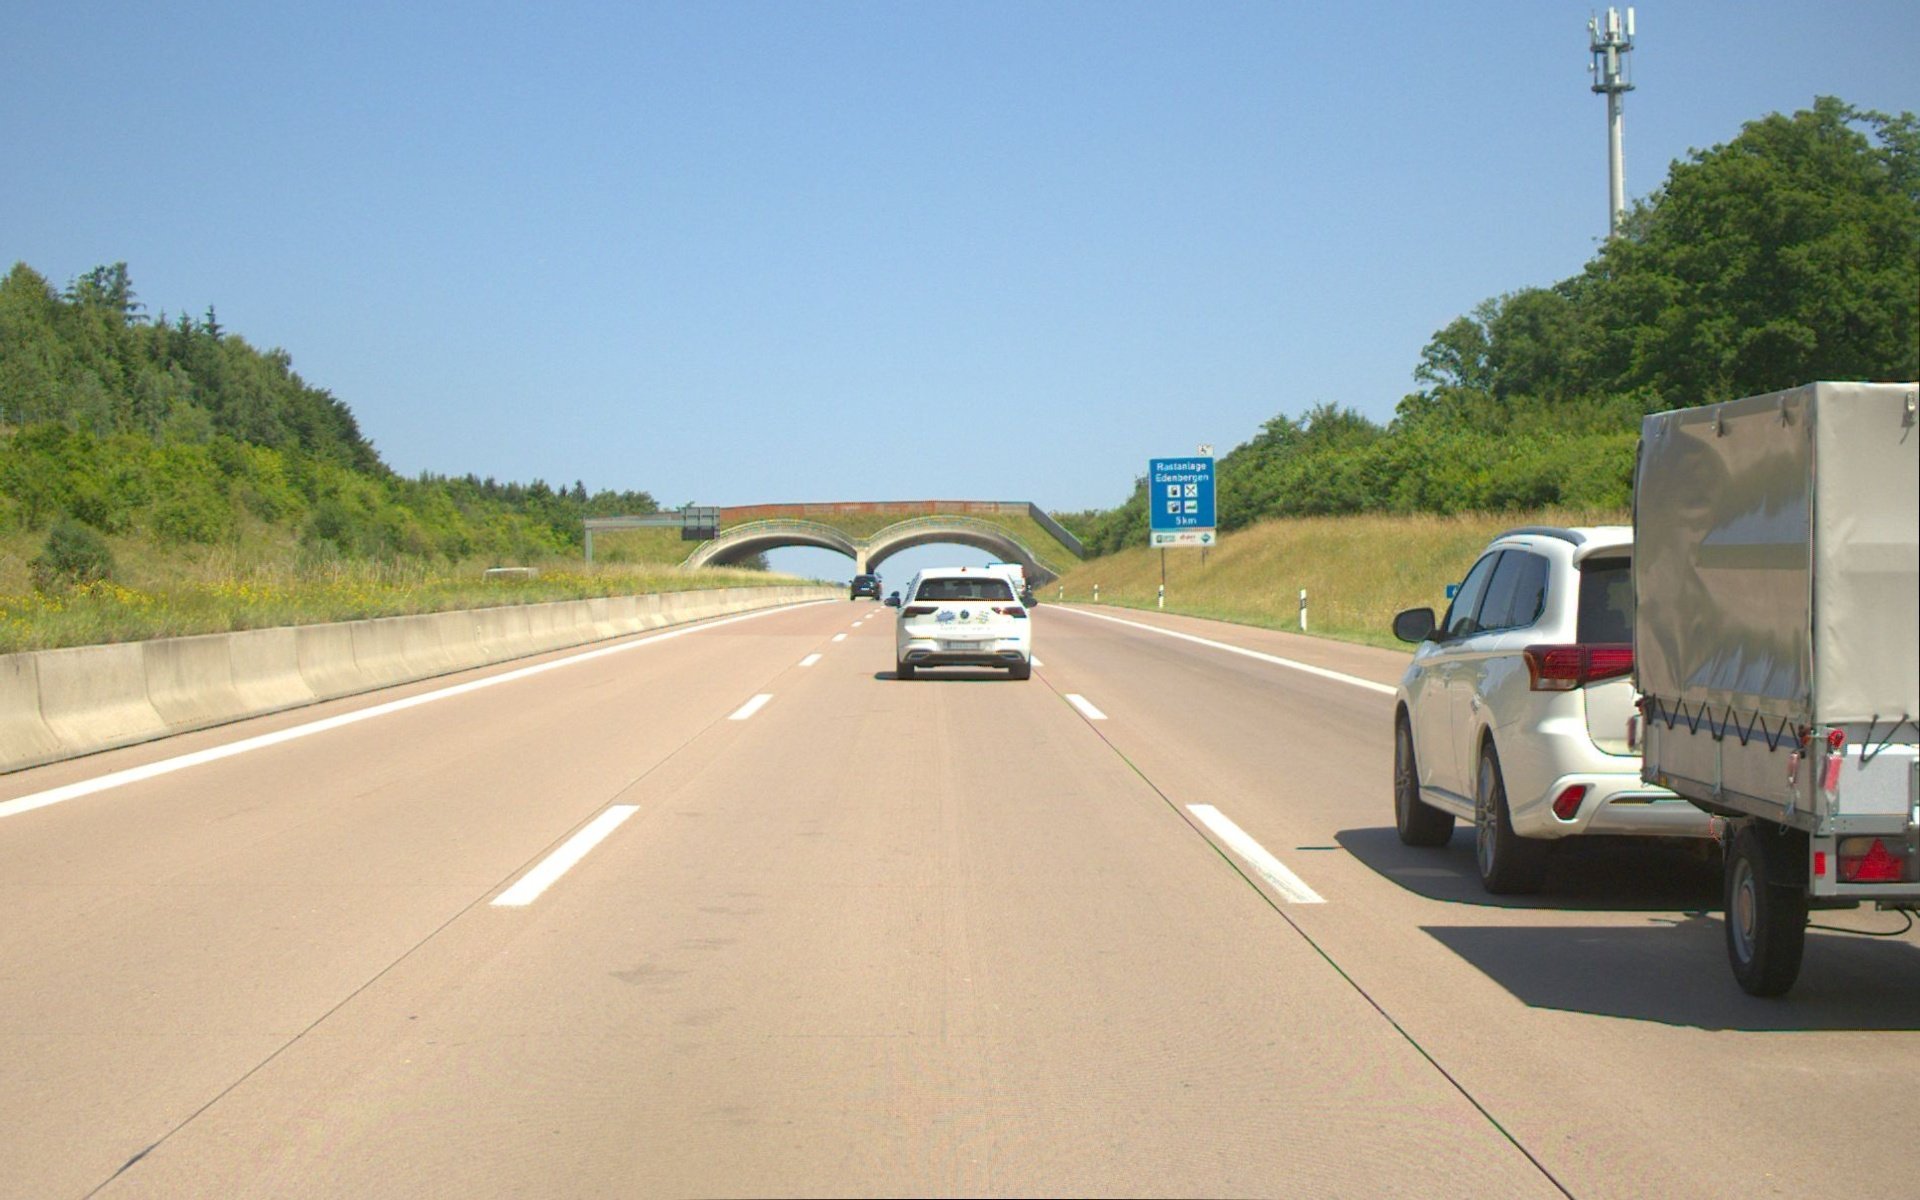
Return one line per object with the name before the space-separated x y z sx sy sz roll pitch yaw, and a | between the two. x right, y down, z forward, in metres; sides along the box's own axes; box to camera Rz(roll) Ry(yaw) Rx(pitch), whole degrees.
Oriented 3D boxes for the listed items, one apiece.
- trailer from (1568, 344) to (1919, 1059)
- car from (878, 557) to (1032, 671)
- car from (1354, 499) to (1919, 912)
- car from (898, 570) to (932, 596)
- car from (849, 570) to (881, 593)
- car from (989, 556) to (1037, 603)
trailer | 3.407 0.285 12.385 1.657 2.156 4.016 0 1 -1
car | -0.021 0.150 45.279 1.891 1.393 4.000 1 1 2
car | 3.269 0.407 16.945 1.890 1.722 5.187 0 1 -2
car | -2.653 -1.027 203.309 1.891 1.458 4.000 1 1 0
car | -6.199 -1.224 225.323 1.891 1.458 4.000 0 1 2
car | 2.393 -0.939 153.588 2.110 2.047 4.000 0 1 2
